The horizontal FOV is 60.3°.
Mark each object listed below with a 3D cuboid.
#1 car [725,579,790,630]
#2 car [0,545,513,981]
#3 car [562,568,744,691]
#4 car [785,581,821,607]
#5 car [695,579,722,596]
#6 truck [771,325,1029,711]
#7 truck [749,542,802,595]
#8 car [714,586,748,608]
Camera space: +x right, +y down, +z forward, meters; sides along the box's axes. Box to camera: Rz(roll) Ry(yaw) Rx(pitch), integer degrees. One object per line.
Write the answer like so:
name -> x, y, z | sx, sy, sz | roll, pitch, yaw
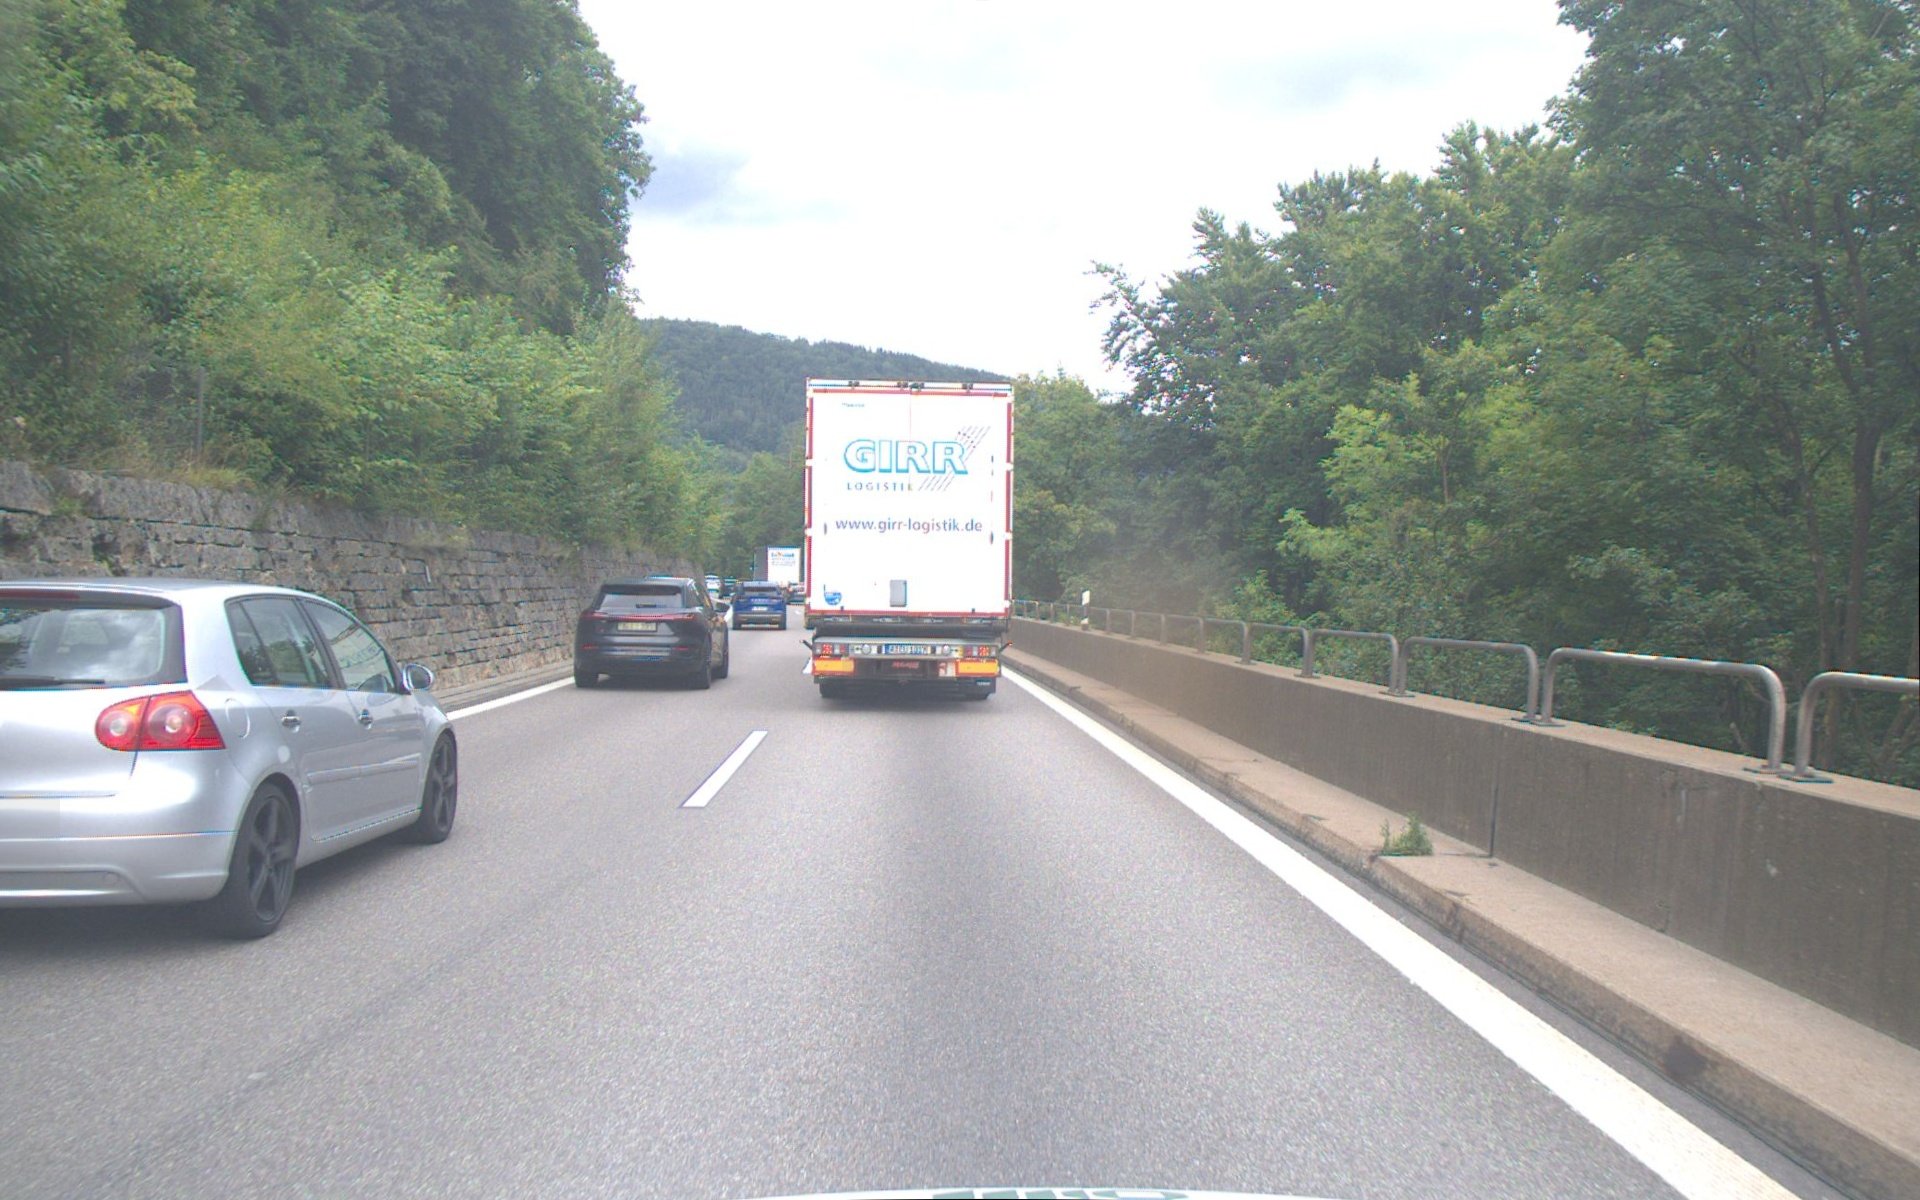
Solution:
car -> -6.987, 0.118, 56.760 | 1.957, 1.660, 4.996 | 0, 0, -10
car -> -3.618, 0.620, 8.194 | 1.647, 1.541, 4.581 | -1, -1, -1
car -> -4.586, 0.402, 25.425 | 1.953, 1.660, 5.007 | 1, 0, -2
car -> -10.294, -0.398, 108.368 | 2.023, 1.683, 3.990 | 1, 0, -10
car -> -24.174, -1.207, 158.881 | 1.867, 1.577, 4.229 | 2, 0, -18
truck -> -0.974, -0.997, 27.183 | 3.022, 4.542, 15.149 | 1, 0, -2
truck -> -14.624, -2.381, 130.462 | 2.589, 3.925, 12.315 | 1, 0, -14
car -> -17.448, -0.237, 125.637 | 1.961, 1.624, 4.334 | -1, 1, -16
